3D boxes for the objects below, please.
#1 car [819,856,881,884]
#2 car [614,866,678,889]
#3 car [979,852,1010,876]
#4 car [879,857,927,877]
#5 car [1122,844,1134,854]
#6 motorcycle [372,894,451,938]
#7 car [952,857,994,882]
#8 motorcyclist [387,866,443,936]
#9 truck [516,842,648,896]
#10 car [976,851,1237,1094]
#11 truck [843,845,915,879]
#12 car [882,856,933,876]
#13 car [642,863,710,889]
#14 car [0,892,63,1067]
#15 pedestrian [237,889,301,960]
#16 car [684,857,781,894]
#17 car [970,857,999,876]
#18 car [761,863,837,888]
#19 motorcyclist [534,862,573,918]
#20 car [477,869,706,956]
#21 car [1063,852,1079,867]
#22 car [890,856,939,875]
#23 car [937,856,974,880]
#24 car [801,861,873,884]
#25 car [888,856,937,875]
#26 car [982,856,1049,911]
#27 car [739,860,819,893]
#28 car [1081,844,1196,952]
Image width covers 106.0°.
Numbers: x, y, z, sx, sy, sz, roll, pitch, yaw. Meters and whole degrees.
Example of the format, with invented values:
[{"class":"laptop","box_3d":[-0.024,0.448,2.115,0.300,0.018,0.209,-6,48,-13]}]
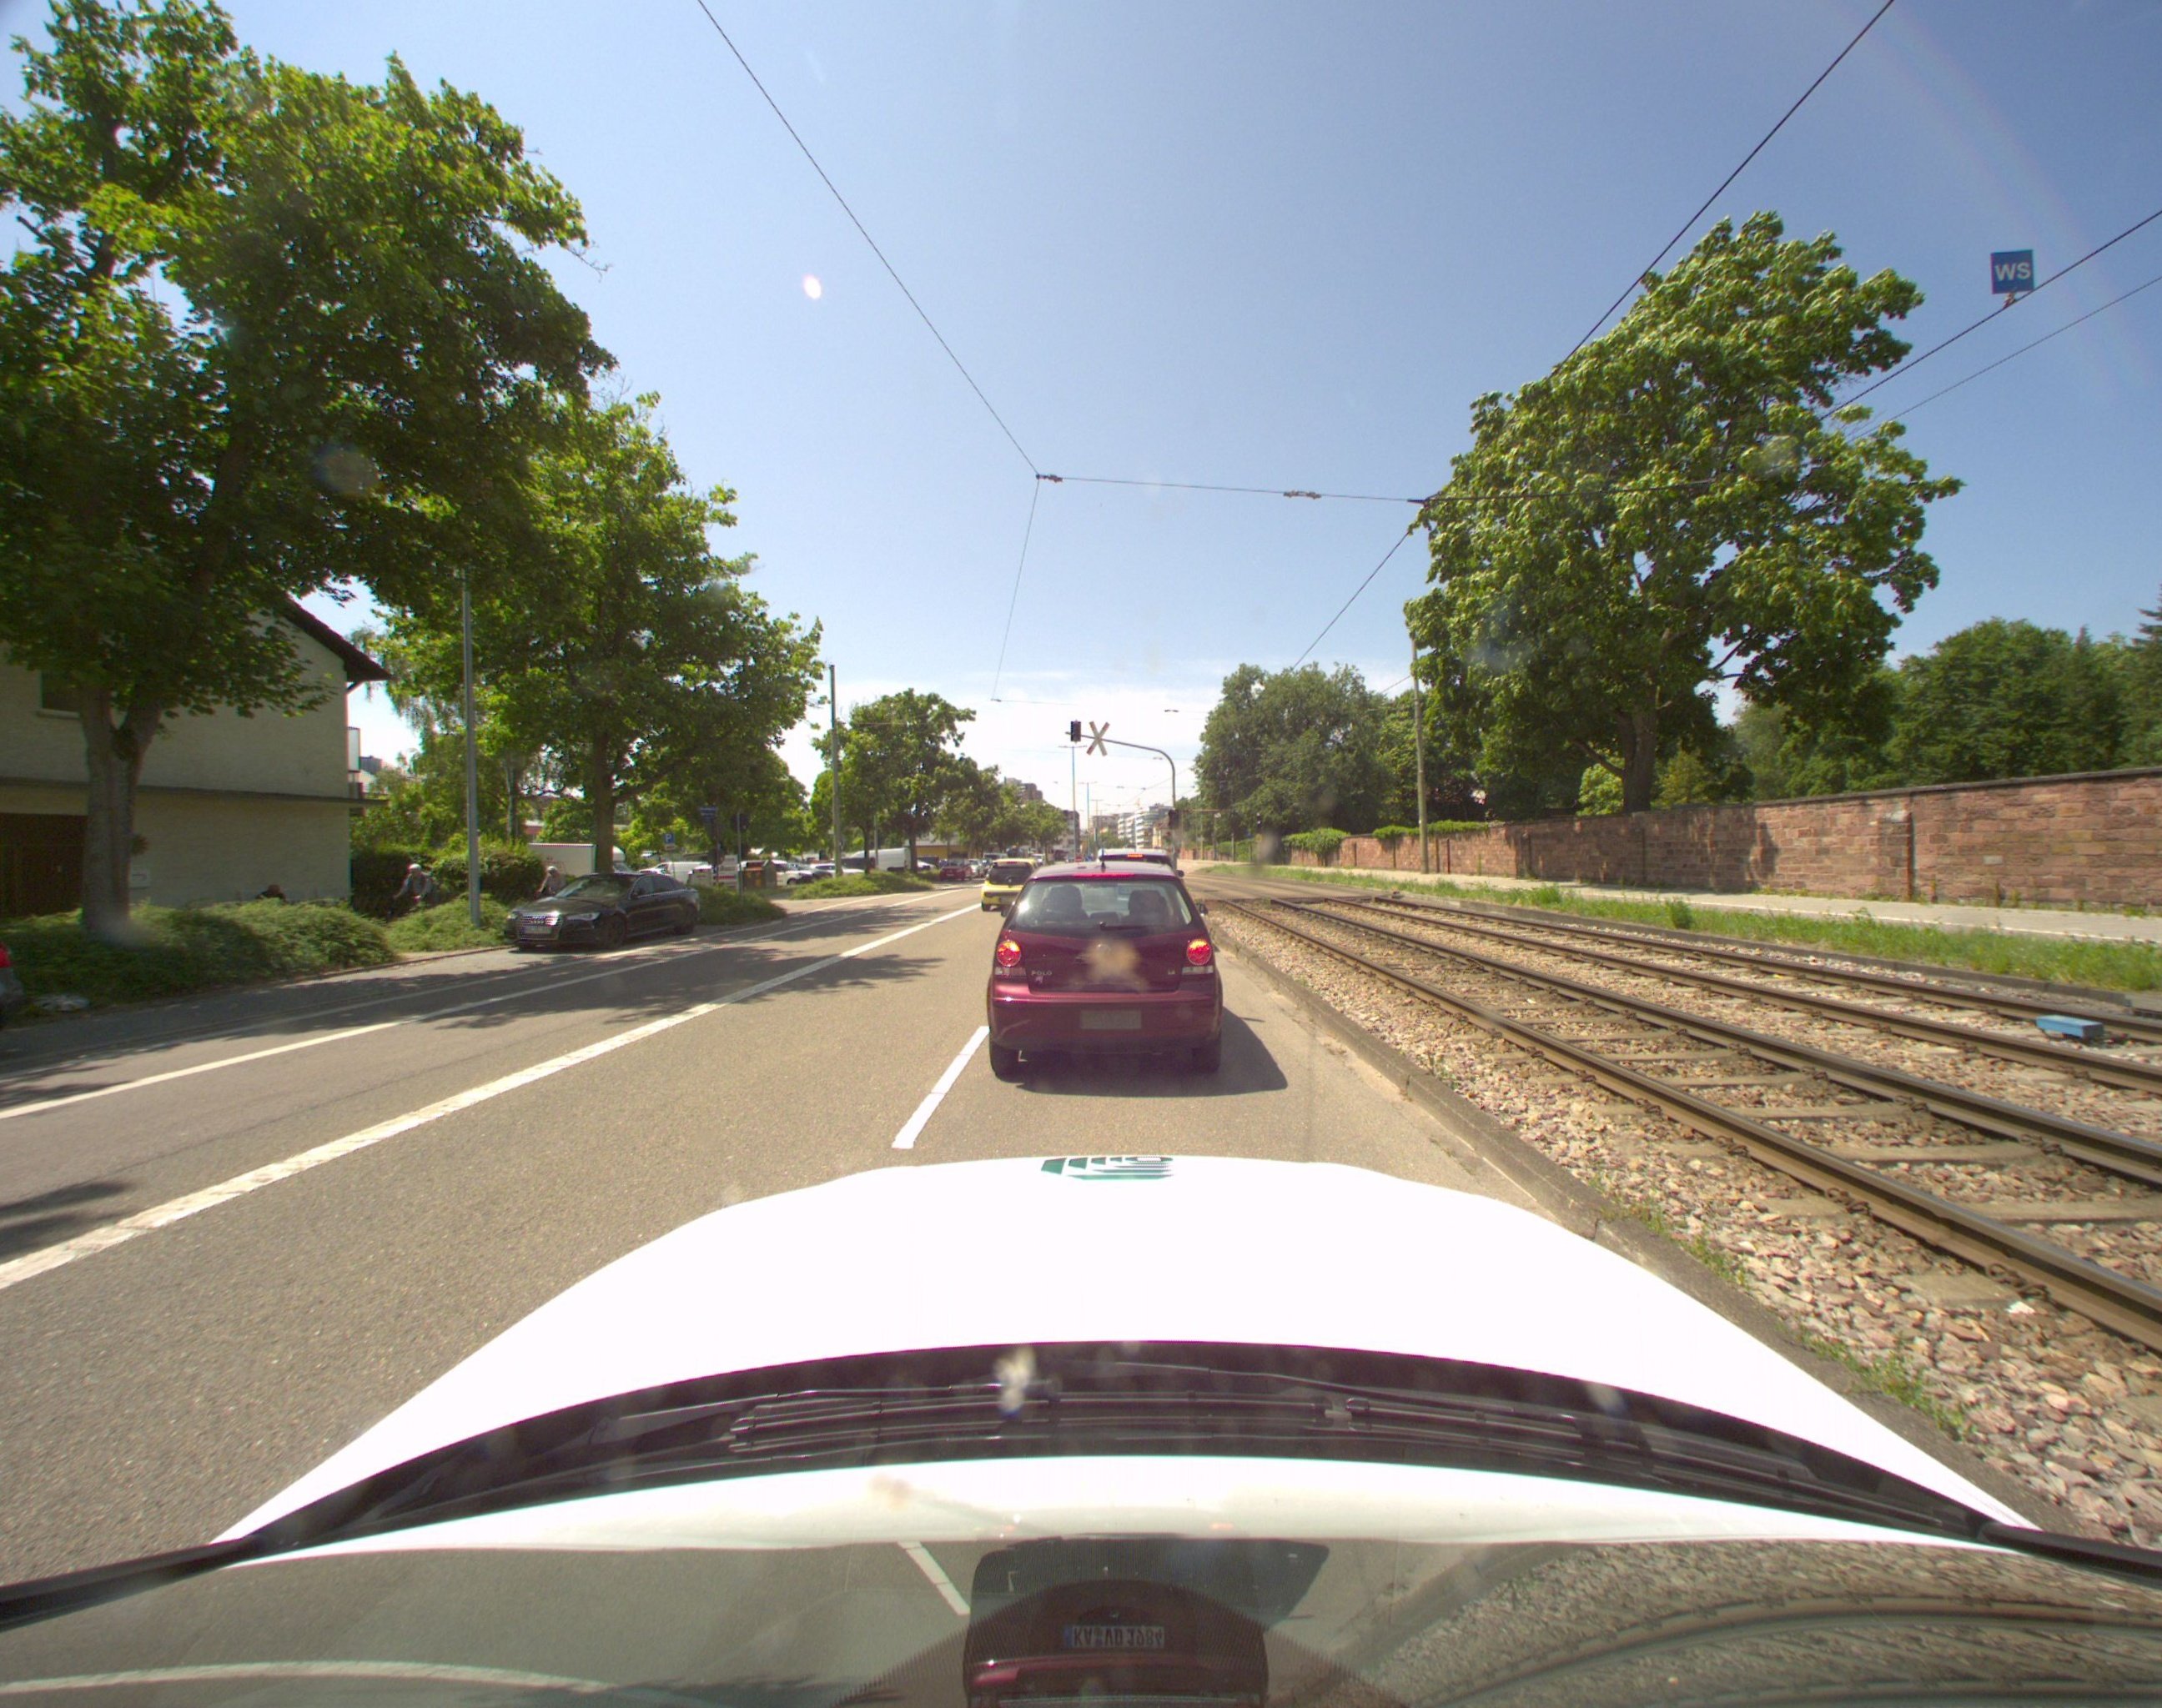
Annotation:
[{"class":"car","box_3d":[-18.054,1.254,63.743,4.195,1.995,1.857,-2,0,0]},{"class":"car","box_3d":[-31.678,1.725,59.376,3.733,1.576,1.733,-1,0,1]},{"class":"car","box_3d":[-7.546,0.863,71.583,1.854,1.937,4.811,2,0,4]},{"class":"car","box_3d":[-17.445,1.249,79.869,4.195,1.765,1.857,-2,0,0]},{"class":"car","box_3d":[9.162,-0.912,160.222,1.914,1.910,4.566,-2,0,-3]},{"class":"motorcycle","box_3d":[-14.651,1.340,17.853,0.524,0.825,1.372,1,0,3]},{"class":"car","box_3d":[-8.107,1.148,61.366,1.709,1.426,4.782,-8,0,8]},{"class":"motorcyclist","box_3d":[-14.633,1.019,17.916,0.584,1.503,0.726,1,0,3]},{"class":"truck","box_3d":[-31.553,0.920,51.667,6.954,3.227,2.150,-1,0,0]},{"class":"car","box_3d":[0.218,0.731,7.047,1.603,1.498,4.002,0,0,2]},{"class":"truck","box_3d":[-17.724,0.681,71.732,5.555,2.759,2.434,-2,0,3]},{"class":"car","box_3d":[-17.507,1.213,82.371,4.702,1.813,1.797,-2,0,0]},{"class":"car","box_3d":[-30.660,1.654,61.790,4.112,1.820,1.971,-1,0,1]},{"class":"car","box_3d":[-10.230,1.106,5.408,1.670,1.486,4.130,0,0,2]},{"class":"pedestrian","box_3d":[-17.968,1.555,18.027,0.789,1.510,0.610,-2,0,8]},{"class":"car","box_3d":[-19.362,1.159,45.398,4.438,1.857,2.059,-2,0,-3]},{"class":"car","box_3d":[-7.848,0.992,66.372,1.607,1.484,3.789,2,0,4]},{"class":"car","box_3d":[-18.344,1.394,53.175,4.185,1.403,2.079,-2,0,-2]},{"class":"motorcyclist","box_3d":[-14.423,0.979,22.291,0.584,1.503,0.663,1,0,3]},{"class":"car","box_3d":[-9.893,1.088,17.015,1.888,1.456,4.809,0,0,0]},{"class":"car","box_3d":[-1.317,0.758,112.216,1.911,1.910,4.573,-3,0,2]},{"class":"car","box_3d":[-17.726,1.202,86.841,4.702,1.813,1.797,-2,0,0]},{"class":"car","box_3d":[-8.371,0.949,54.578,1.664,1.546,3.731,0,-1,4]},{"class":"car","box_3d":[-18.285,1.385,61.135,4.745,1.488,2.058,-2,0,0]},{"class":"car","box_3d":[-17.473,1.191,84.521,4.702,1.813,1.797,-2,0,0]},{"class":"car","box_3d":[-1.811,0.793,23.403,1.545,1.448,3.413,0,0,2]},{"class":"car","box_3d":[-18.571,1.381,50.132,4.247,1.835,1.675,-2,0,4]},{"class":"car","box_3d":[0.972,0.688,14.847,1.788,1.683,4.002,0,0,2]}]
